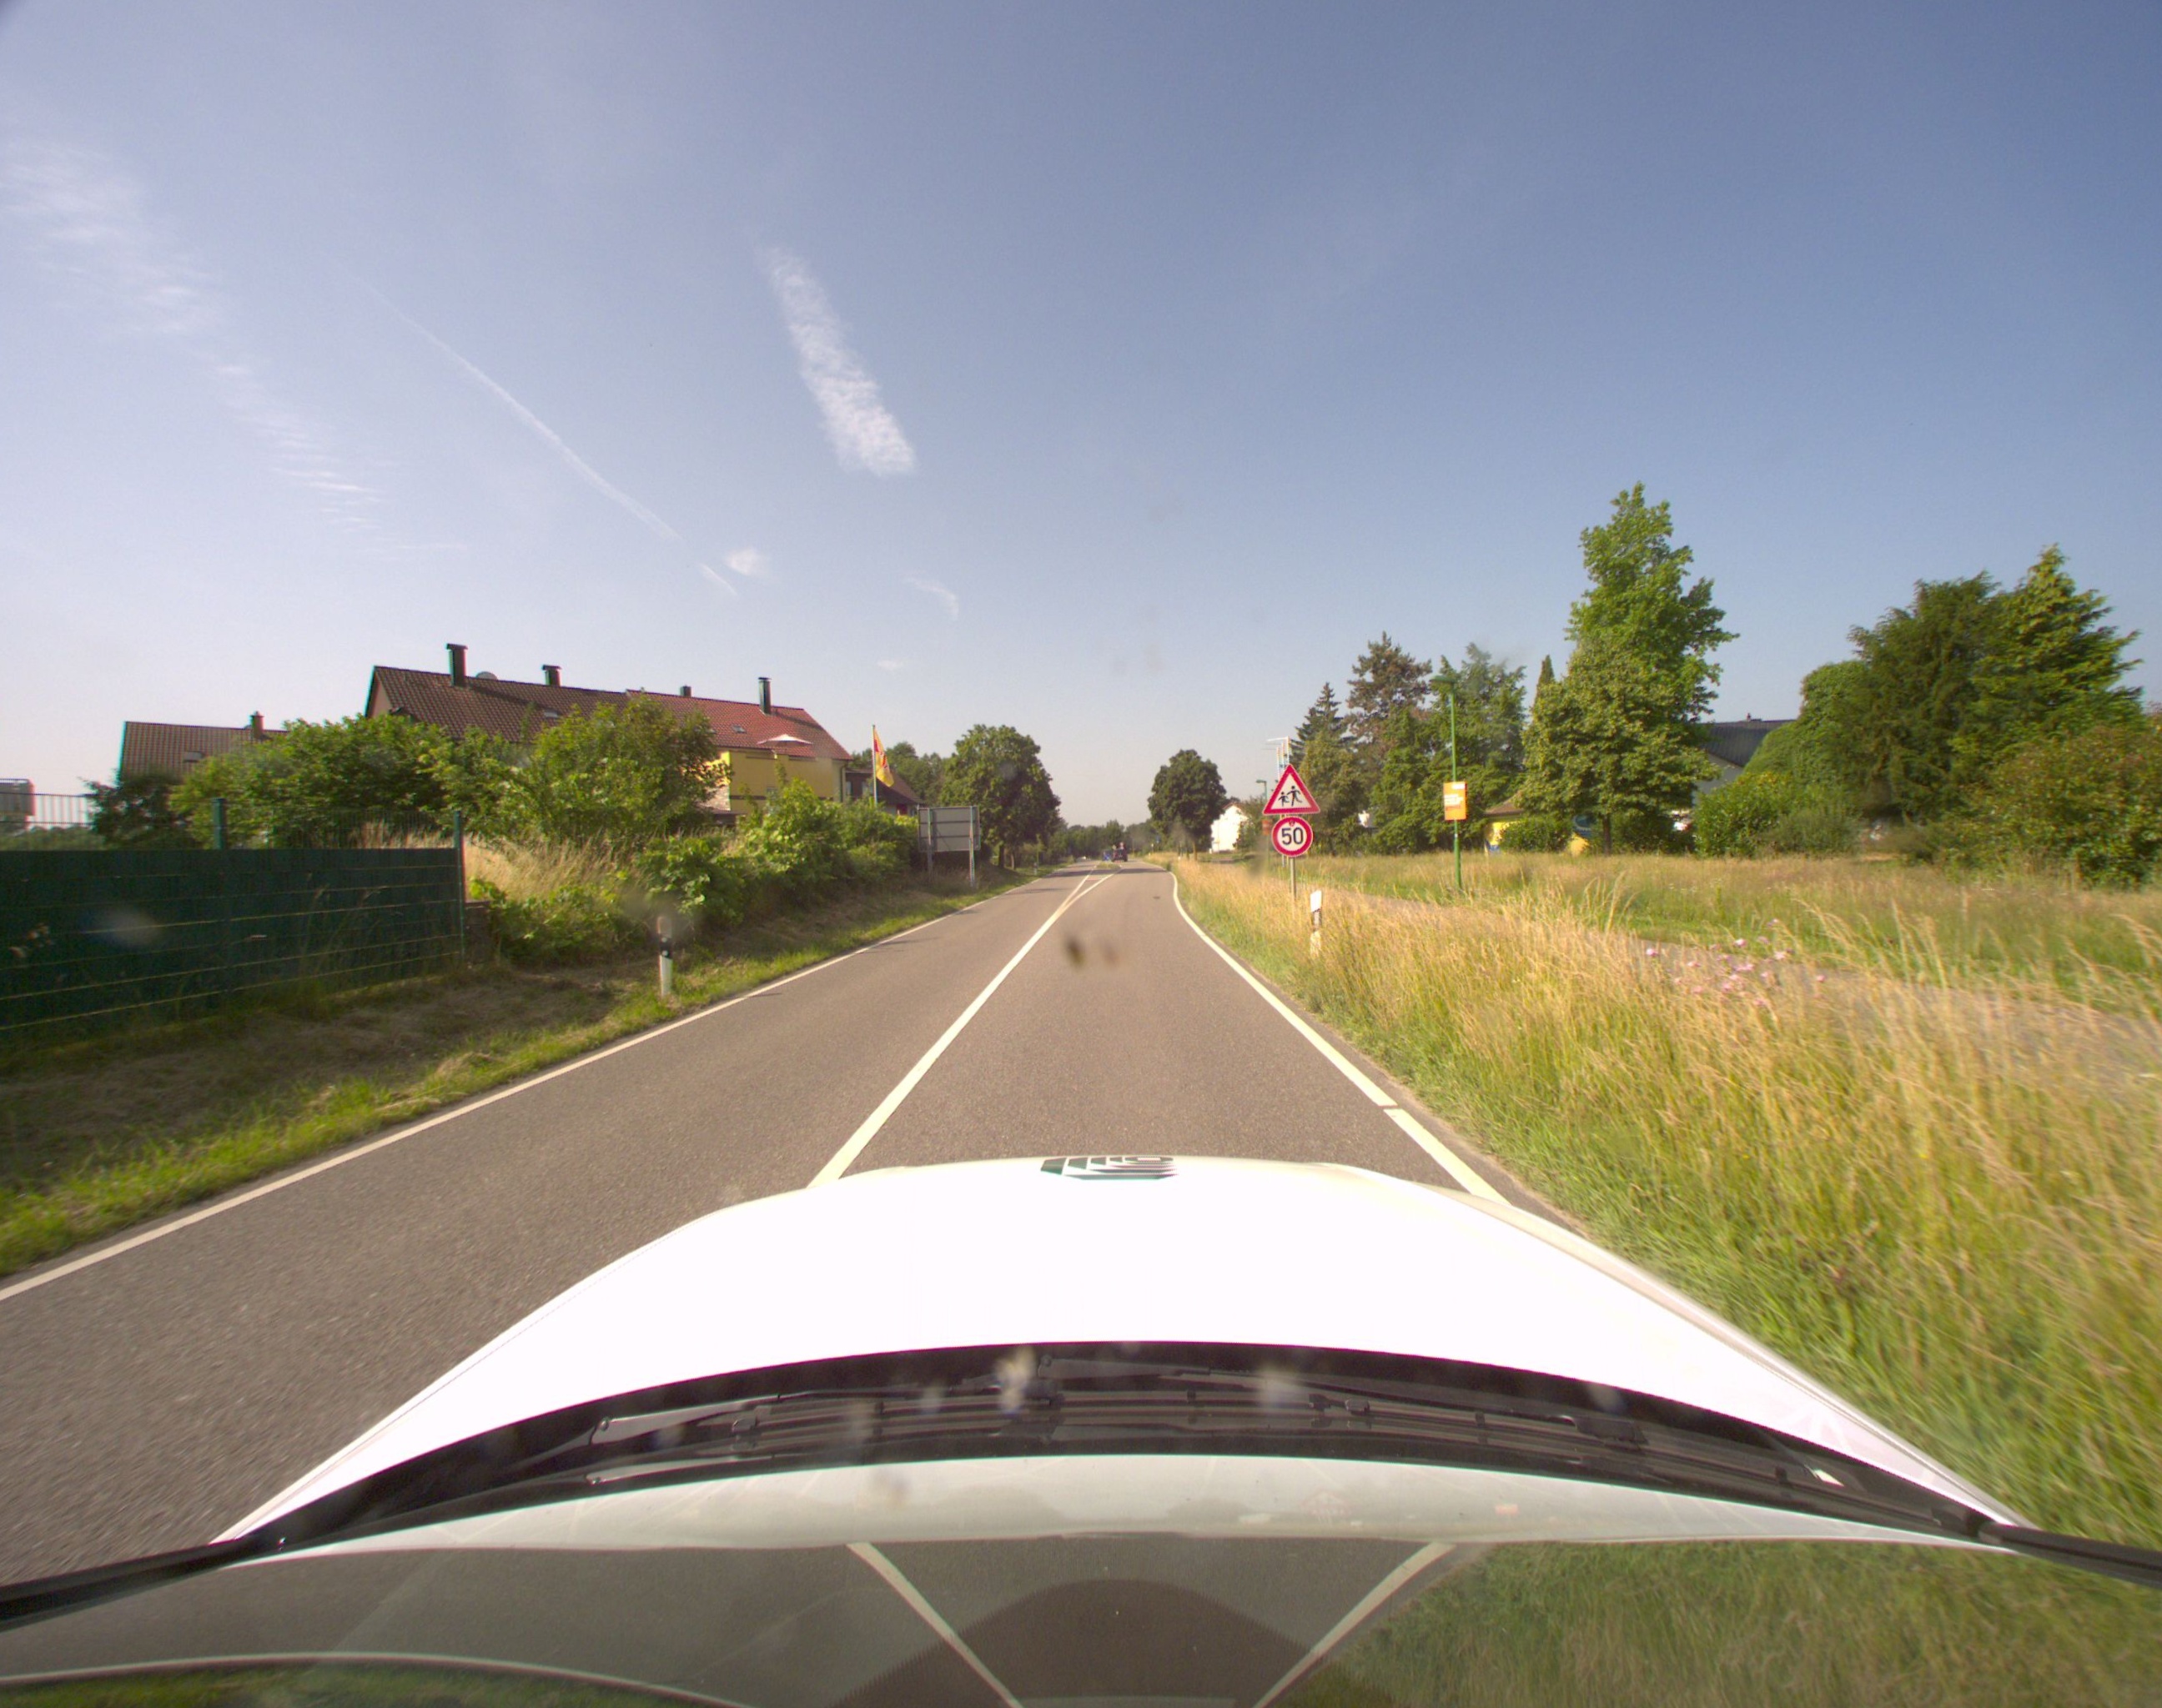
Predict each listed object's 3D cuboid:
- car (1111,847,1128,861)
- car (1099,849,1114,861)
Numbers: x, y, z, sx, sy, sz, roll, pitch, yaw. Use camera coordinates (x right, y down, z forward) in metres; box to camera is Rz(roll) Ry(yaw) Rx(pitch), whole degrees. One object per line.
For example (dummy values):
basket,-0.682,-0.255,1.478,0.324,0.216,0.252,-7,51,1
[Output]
car,4.924,0.009,105.165,1.919,1.771,3.999,-2,1,0
car,3.949,0.120,127.338,1.999,1.771,3.997,-2,1,-2
